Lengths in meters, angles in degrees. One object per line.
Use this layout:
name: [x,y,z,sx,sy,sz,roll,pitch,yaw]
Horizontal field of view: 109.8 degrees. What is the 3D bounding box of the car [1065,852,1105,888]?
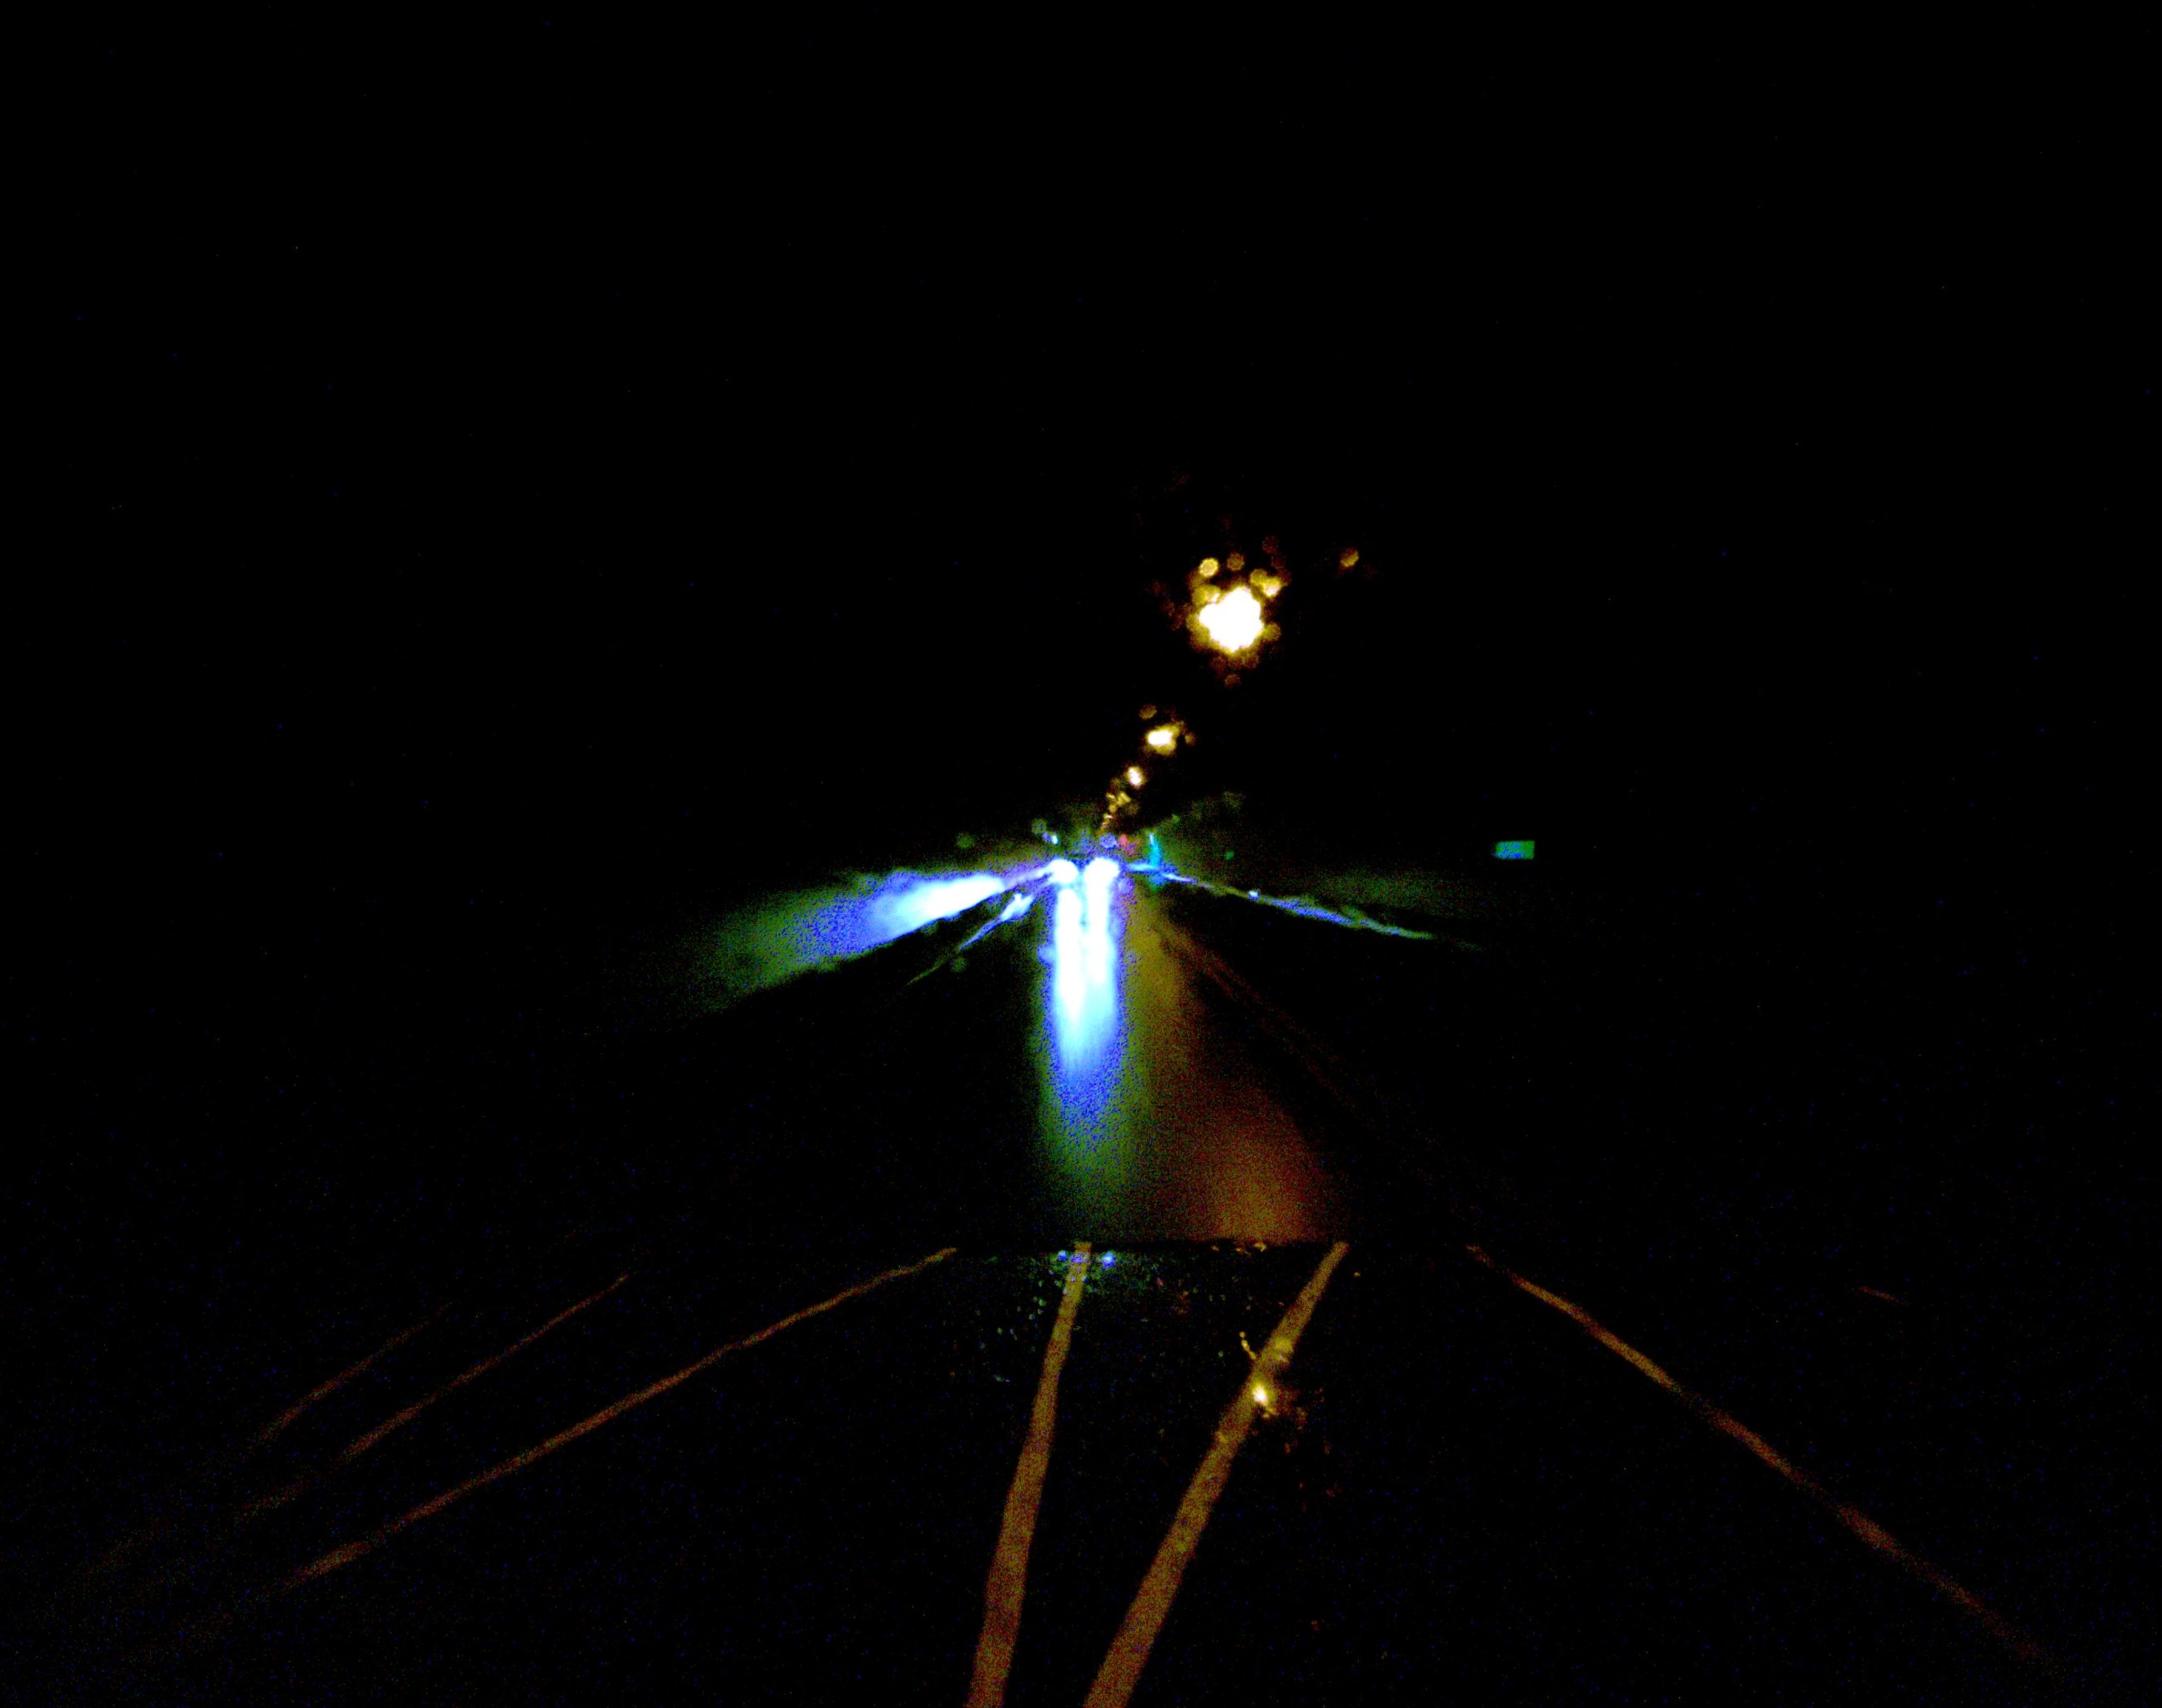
car: [0.204,0.746,36.952,1.829,1.650,3.929,0,0,1]
